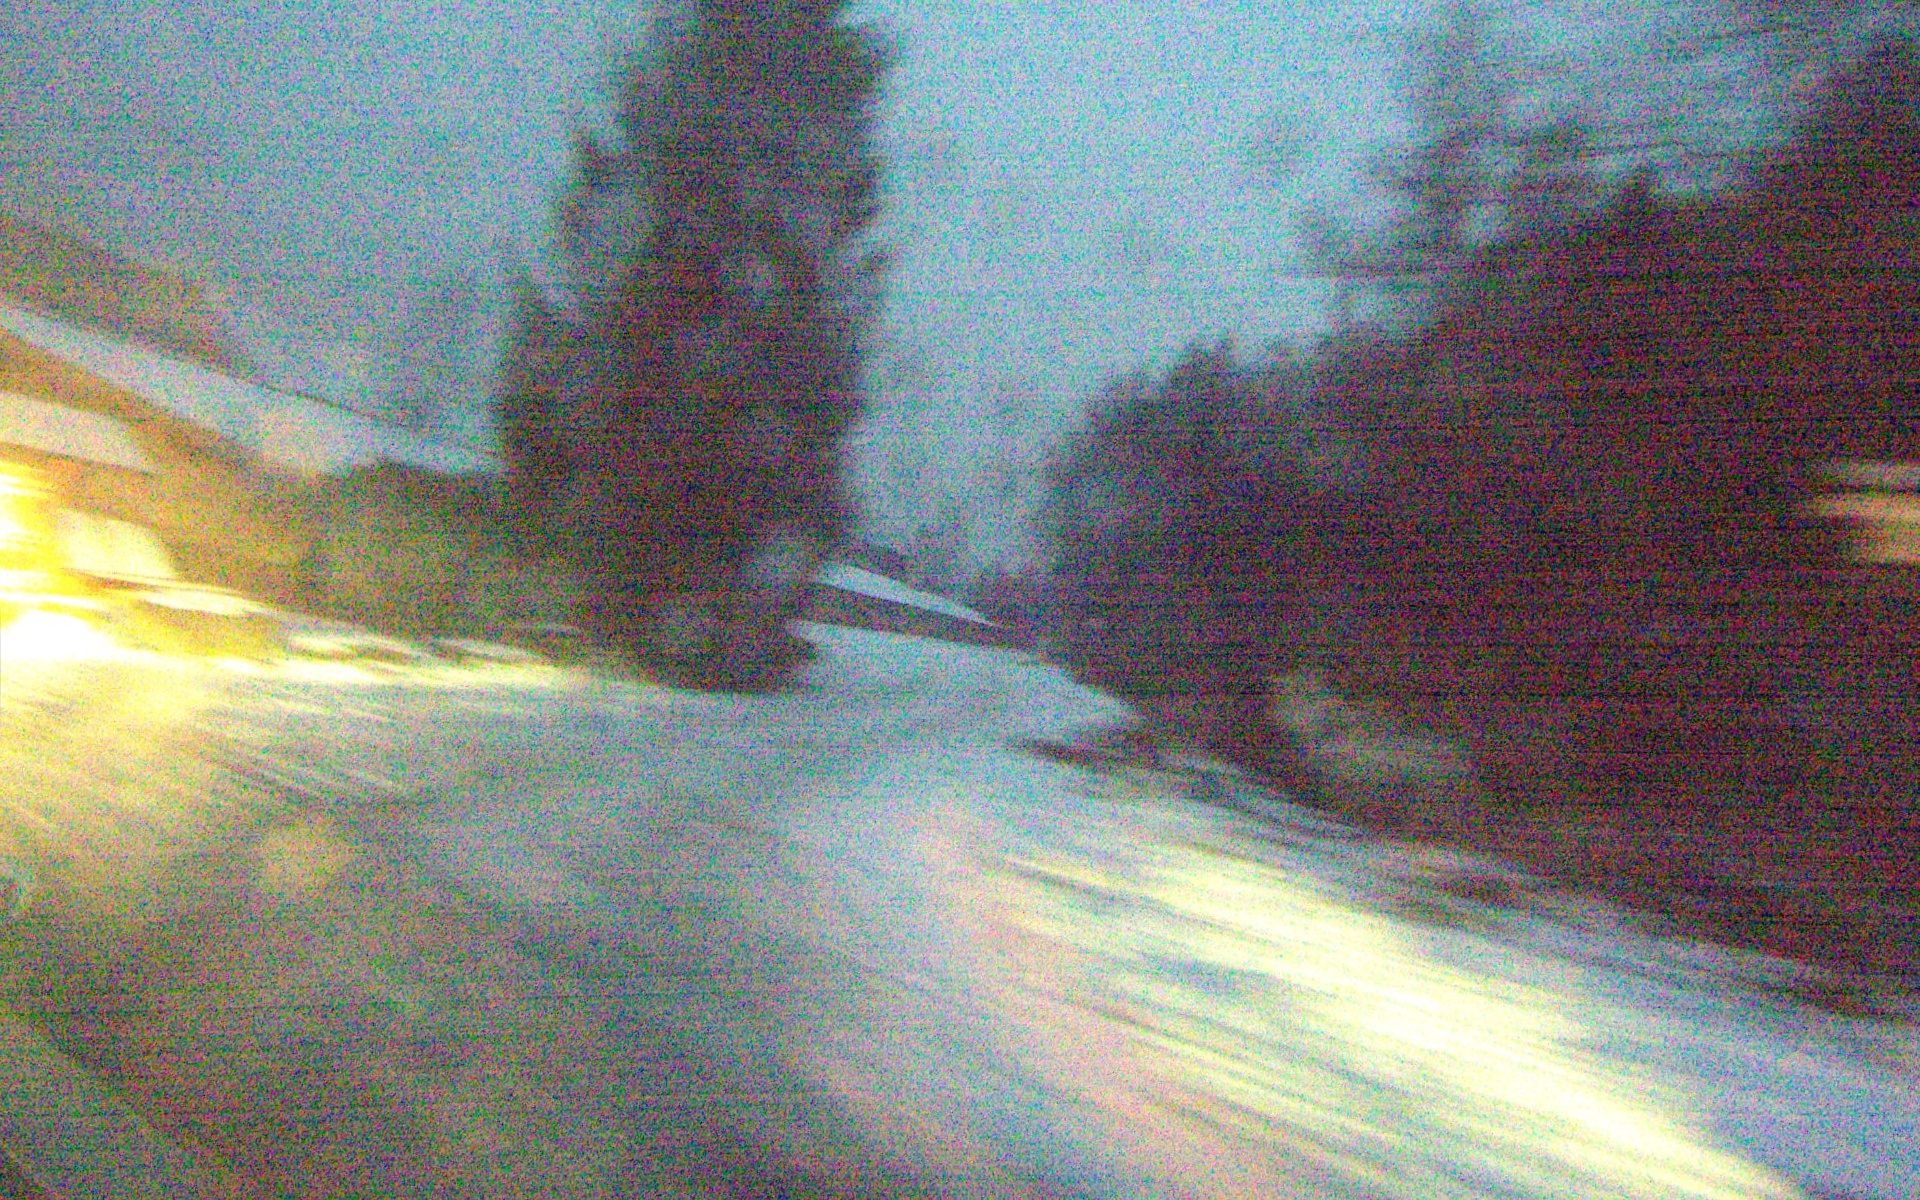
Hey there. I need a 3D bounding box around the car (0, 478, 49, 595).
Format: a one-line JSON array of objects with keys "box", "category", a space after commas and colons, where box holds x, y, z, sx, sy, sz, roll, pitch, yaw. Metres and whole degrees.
[{"box": [-19.704, -1.490, 18.811, 4.309, 2.062, 1.887, 8, -3, 19], "category": "car"}]

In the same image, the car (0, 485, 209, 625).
[{"box": [-15.201, -0.829, 16.987, 4.078, 1.829, 1.887, 8, -3, 19], "category": "car"}]
